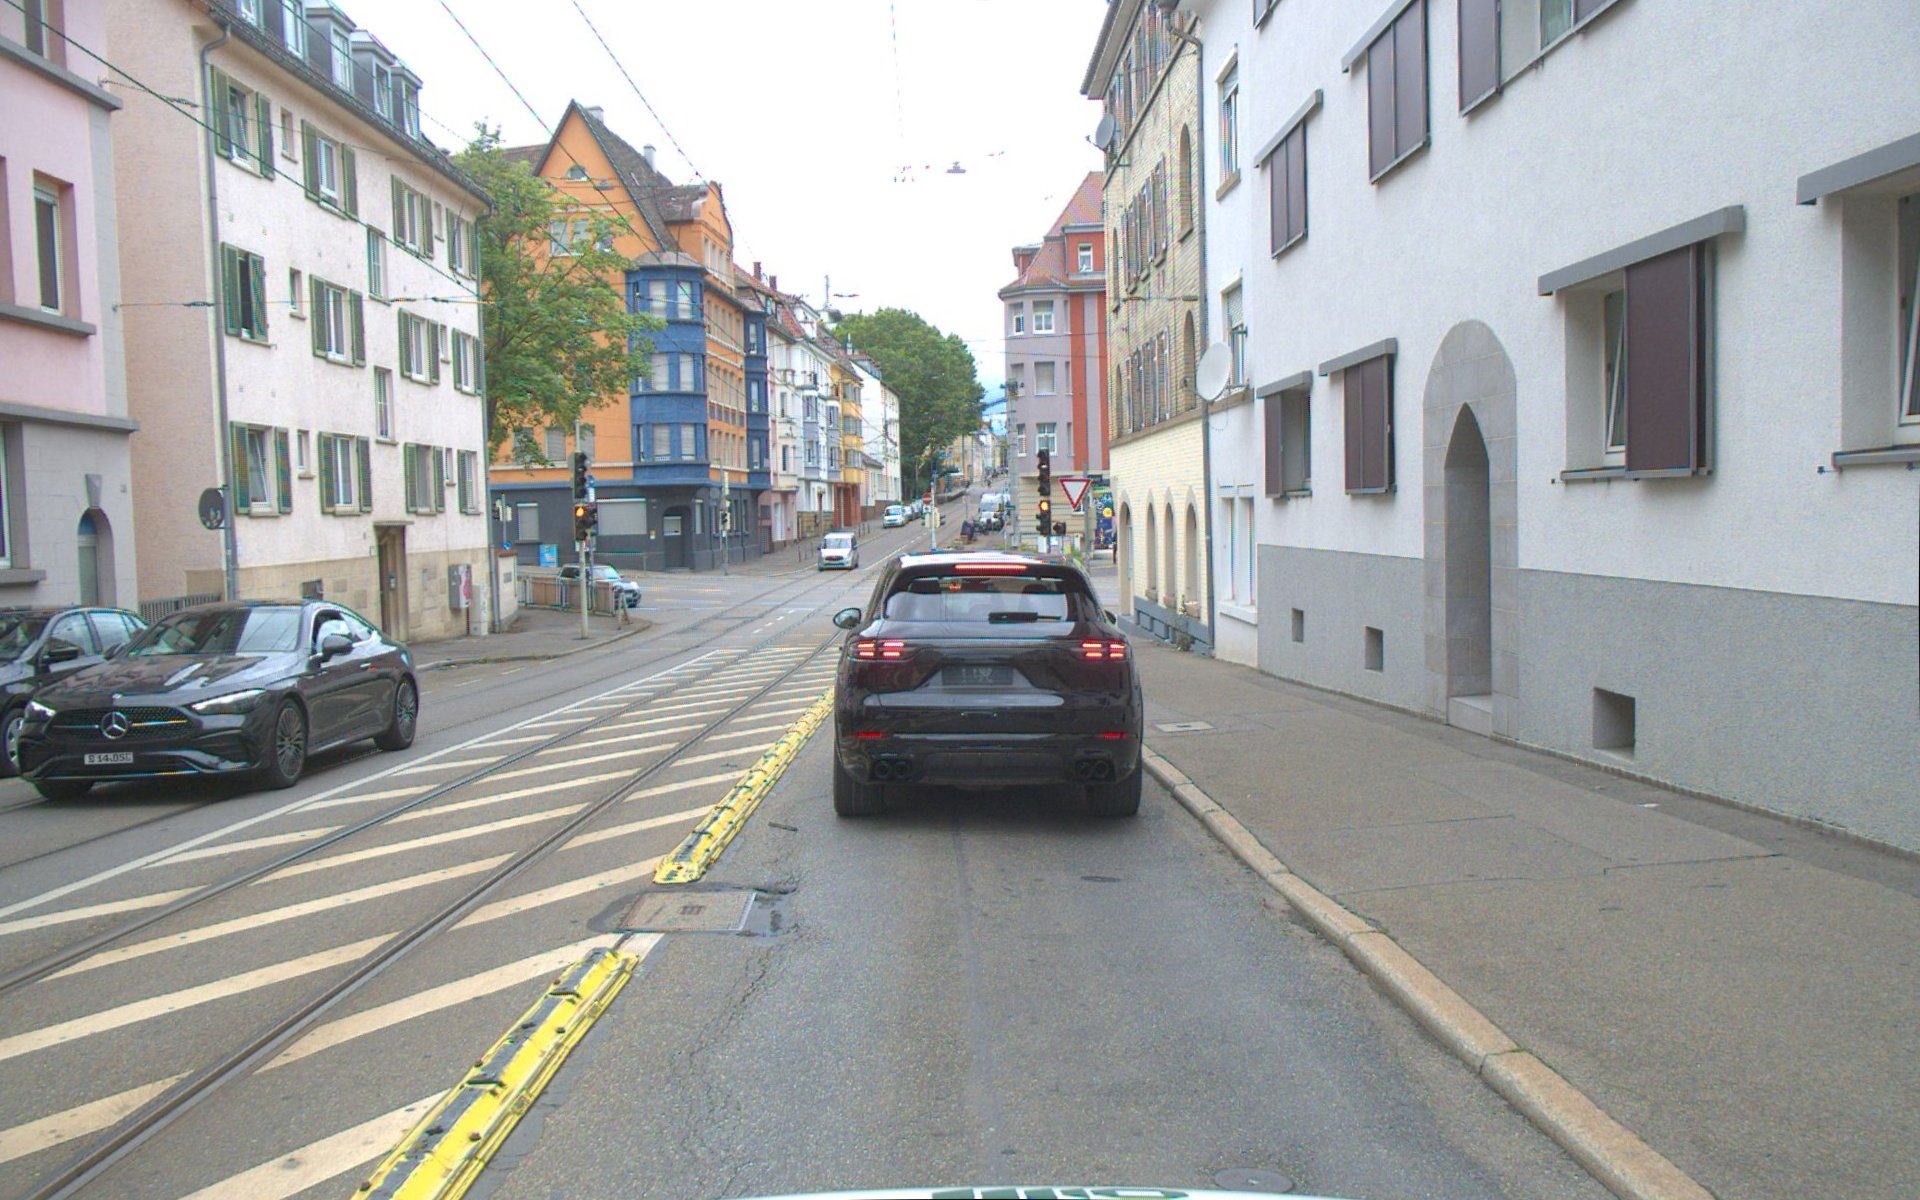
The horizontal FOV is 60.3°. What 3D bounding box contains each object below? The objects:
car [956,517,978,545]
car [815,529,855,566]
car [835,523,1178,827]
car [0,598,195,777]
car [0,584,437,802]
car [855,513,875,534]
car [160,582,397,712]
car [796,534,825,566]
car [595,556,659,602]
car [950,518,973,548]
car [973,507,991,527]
[{"bbox_3d":[0.458,-4.498,107.990,1.366,1.752,3.359,-1,1,0],"label":"car"},{"bbox_3d":[-6.423,-2.672,85.442,1.715,1.790,4.254,-1,1,0],"label":"car"},{"bbox_3d":[0.229,0.400,11.569,1.953,1.705,3.999,-1,1,-1],"label":"car"},{"bbox_3d":[-8.832,0.747,15.263,1.701,1.434,4.000,-1,1,-1],"label":"car"},{"bbox_3d":[-5.970,0.625,13.742,1.882,1.449,4.497,-1,1,-2],"label":"car"},{"bbox_3d":[-7.444,-6.001,130.225,1.366,1.476,3.359,-1,1,0],"label":"car"},{"bbox_3d":[-9.007,0.561,22.212,1.588,1.516,4.045,-2,0,-2],"label":"car"},{"bbox_3d":[-8.542,-2.856,94.699,1.366,1.752,3.359,-1,1,0],"label":"car"},{"bbox_3d":[-11.659,-0.733,57.766,1.611,1.534,3.517,-2,1,-21],"label":"car"},{"bbox_3d":[0.090,-4.088,101.035,1.366,1.752,3.359,-1,1,0],"label":"car"},{"bbox_3d":[1.750,-6.663,133.078,1.366,1.476,3.359,-1,1,0],"label":"car"}]
